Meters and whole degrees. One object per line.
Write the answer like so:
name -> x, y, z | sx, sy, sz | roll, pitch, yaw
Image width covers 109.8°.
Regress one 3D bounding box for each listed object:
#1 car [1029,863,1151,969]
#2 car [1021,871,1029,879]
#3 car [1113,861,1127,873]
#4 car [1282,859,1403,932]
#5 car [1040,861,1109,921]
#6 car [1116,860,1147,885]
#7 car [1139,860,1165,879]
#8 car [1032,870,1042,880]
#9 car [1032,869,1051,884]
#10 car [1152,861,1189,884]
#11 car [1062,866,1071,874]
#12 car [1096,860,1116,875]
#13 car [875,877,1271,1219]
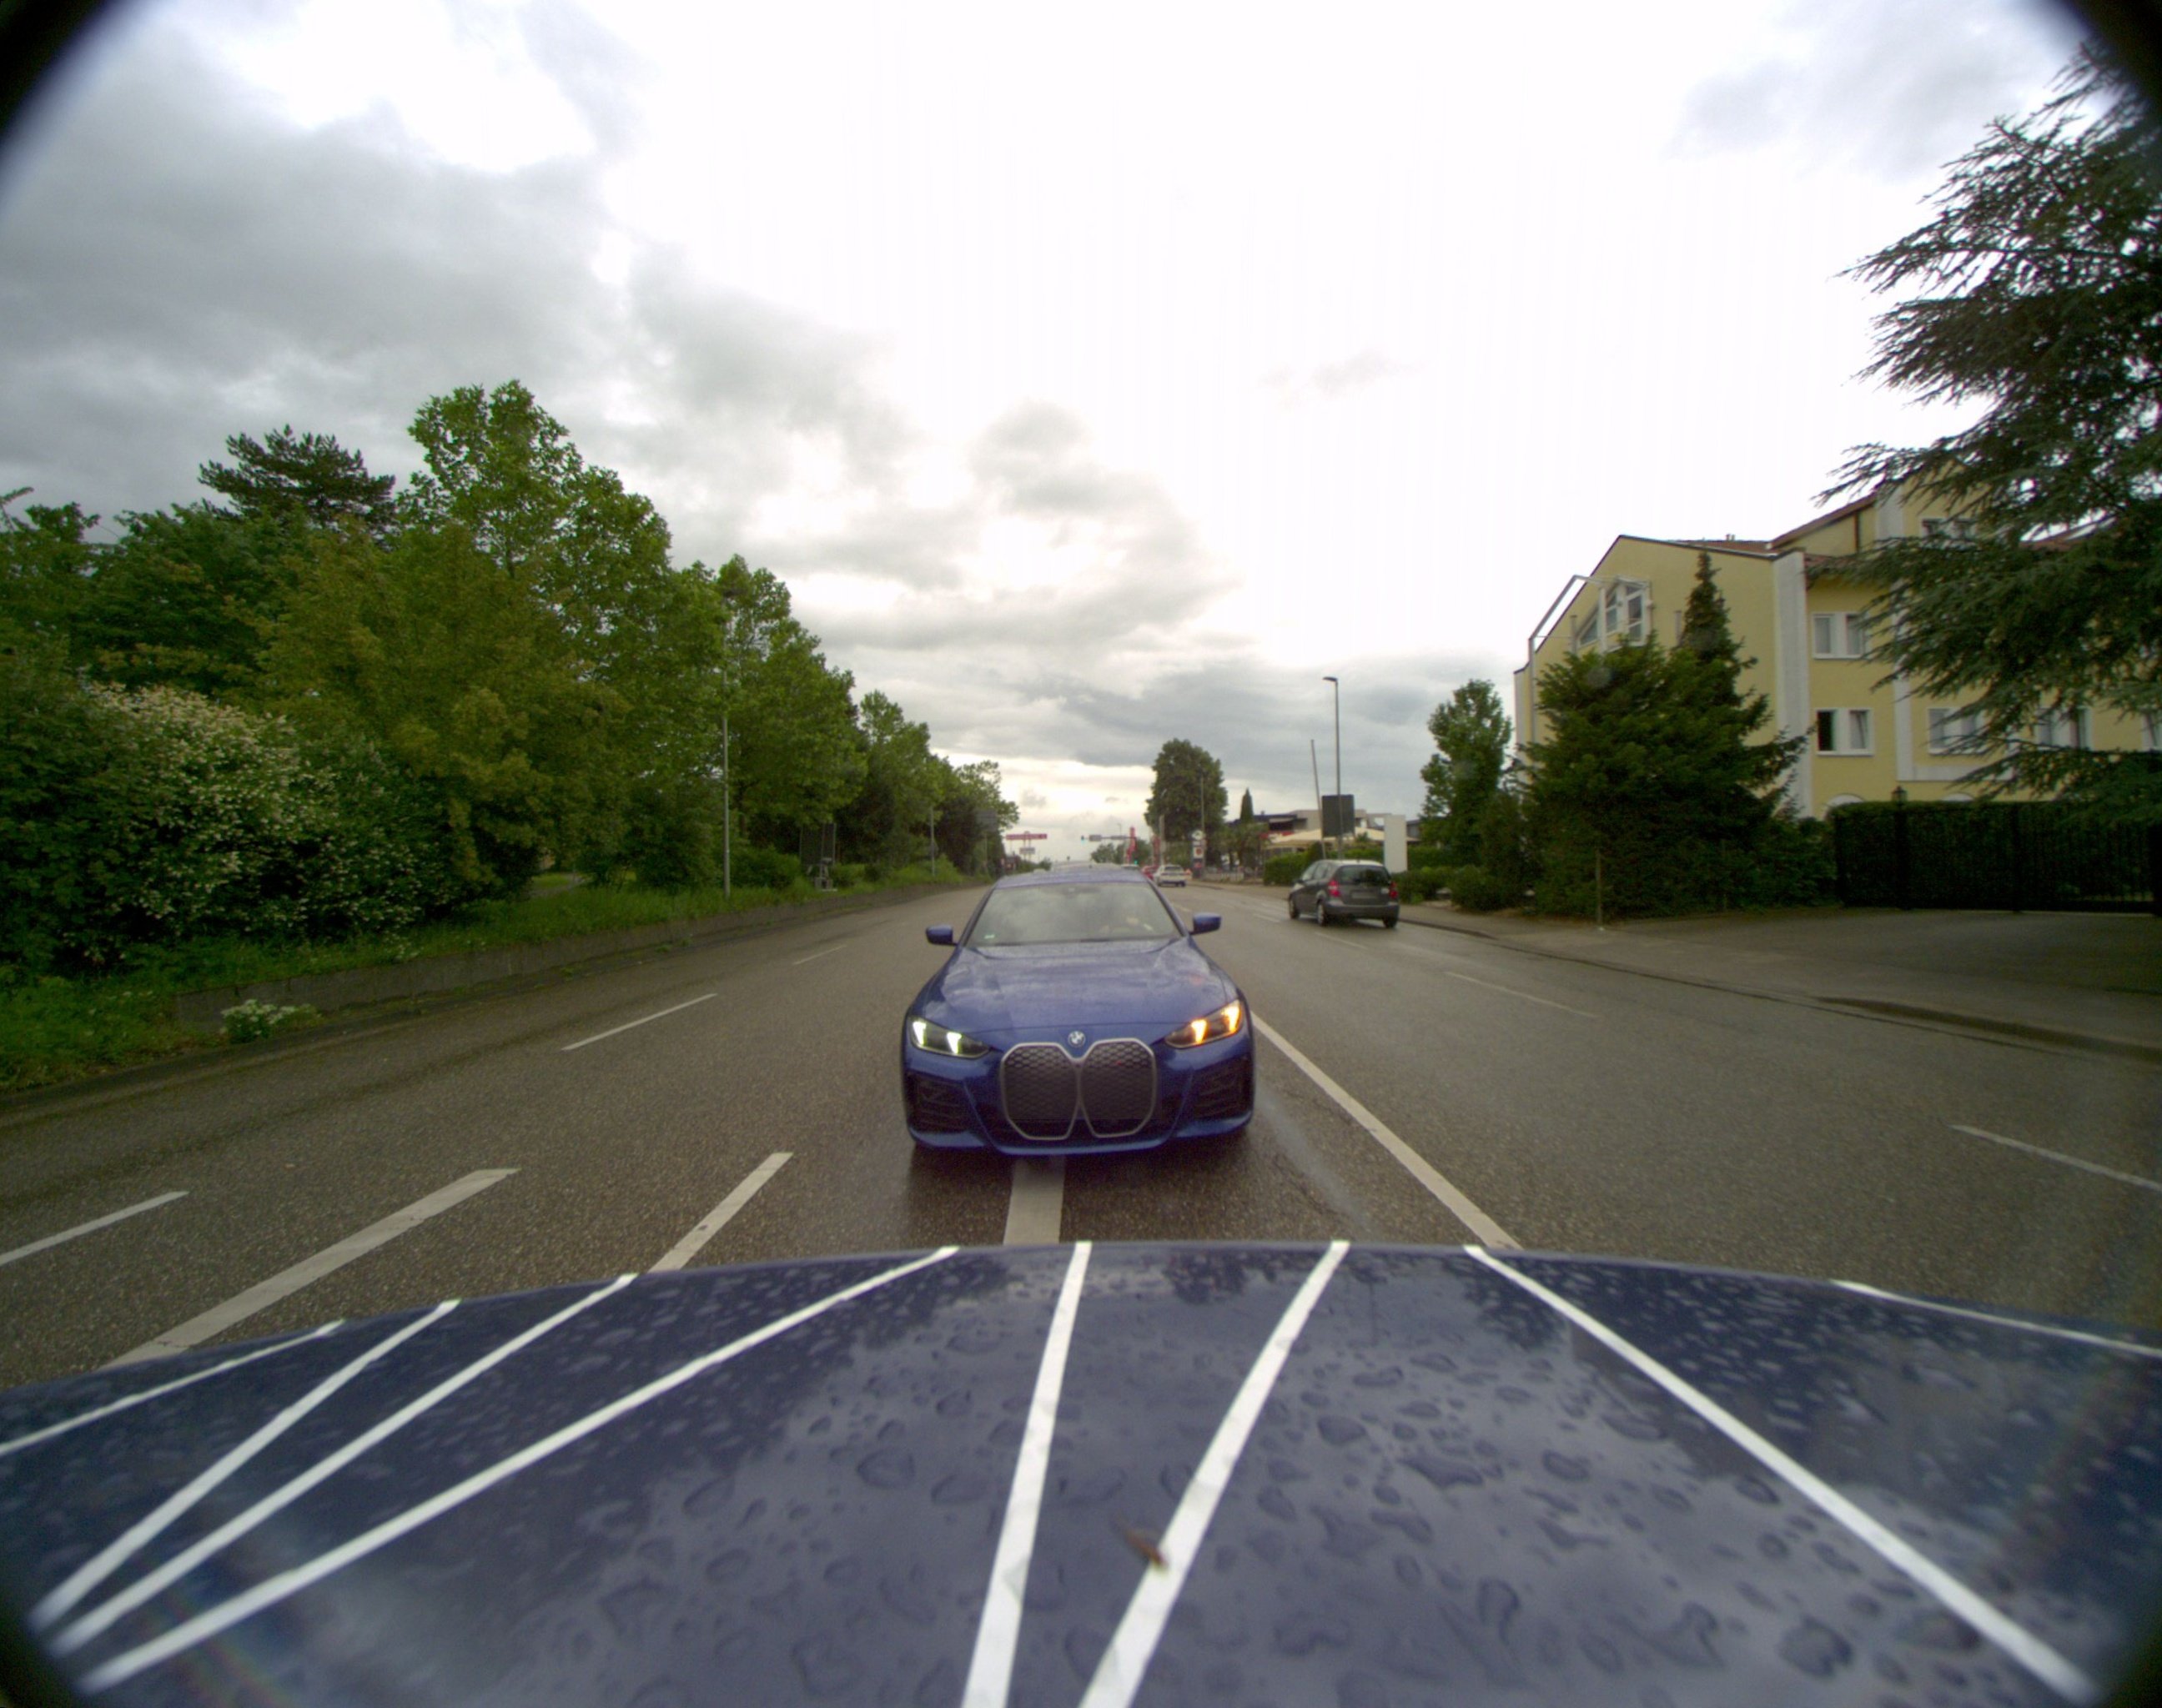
car -> 0.150, 0.952, 13.461 | 1.807, 1.543, 4.223 | -1, 0, 0
car -> -12.833, 4.758, 173.947 | 1.812, 1.718, 3.998 | -3, 1, -3
car -> 5.812, 1.978, 114.601 | 1.764, 1.665, 3.780 | -1, 0, -1
car -> 6.343, 0.941, 18.849 | 1.704, 1.589, 3.550 | 2, 0, -1
car -> -0.160, 1.010, 22.452 | 1.807, 1.543, 4.000 | -1, 0, 0
car -> 3.185, 1.168, 48.466 | 1.643, 1.451, 3.518 | -1, 0, 0
car -> 6.111, 1.281, 65.802 | 1.699, 1.467, 3.780 | -3, 0, -1
car -> -7.778, 3.716, 134.943 | 1.710, 1.570, 3.518 | -1, 0, -2
car -> -4.217, 2.415, 82.549 | 1.775, 1.448, 4.000 | -1, 0, 1
car -> 5.984, 1.209, 51.237 | 1.790, 1.451, 4.431 | 0, -1, -2
car -> -3.003, 3.318, 157.203 | 1.836, 1.565, 3.512 | -3, 1, -1
car -> 2.571, 1.372, 78.318 | 1.820, 1.373, 4.272 | -2, 0, 0
car -> -0.033, 0.964, 5.650 | 1.803, 1.399, 4.272 | -1, 0, 0
